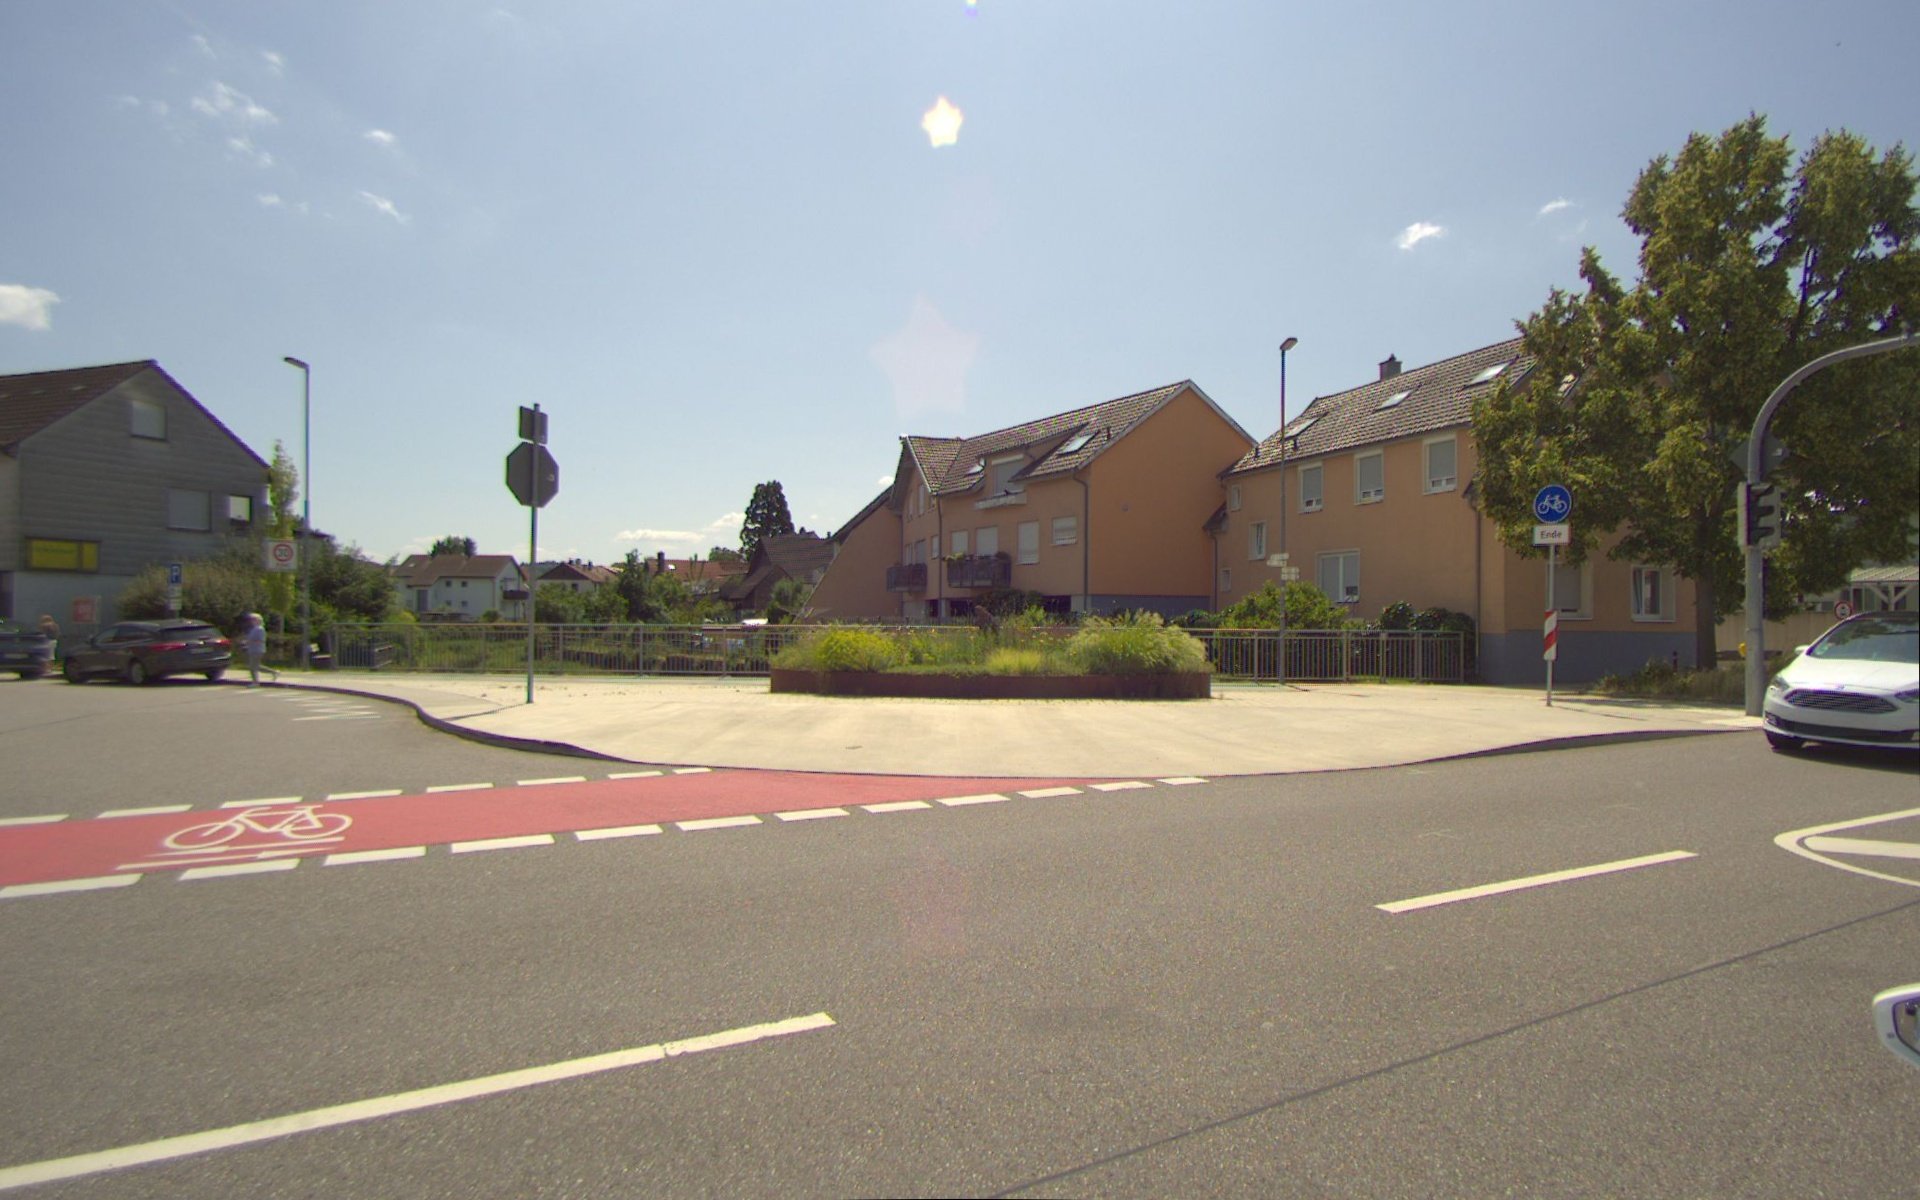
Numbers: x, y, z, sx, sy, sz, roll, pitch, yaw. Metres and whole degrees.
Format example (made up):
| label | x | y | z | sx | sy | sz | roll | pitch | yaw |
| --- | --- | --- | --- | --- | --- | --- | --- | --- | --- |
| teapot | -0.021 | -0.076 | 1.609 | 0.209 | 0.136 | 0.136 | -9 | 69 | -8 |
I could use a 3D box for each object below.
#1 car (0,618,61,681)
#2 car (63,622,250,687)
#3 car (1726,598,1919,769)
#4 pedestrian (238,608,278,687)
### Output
| label | x | y | z | sx | sy | sz | roll | pitch | yaw |
| --- | --- | --- | --- | --- | --- | --- | --- | --- | --- |
| car | -25.660 | 1.244 | 25.971 | 4.150 | 1.567 | 1.788 | 0 | -2 | 19 |
| car | -19.633 | 1.279 | 24.568 | 3.922 | 1.483 | 1.861 | 0 | -1 | 22 |
| car | 10.876 | 0.871 | 11.448 | 3.947 | 1.671 | 1.809 | 2 | 0 | -26 |
| pedestrian | -16.166 | 1.082 | 23.150 | 0.603 | 1.772 | 0.506 | 0 | -1 | 26 |
